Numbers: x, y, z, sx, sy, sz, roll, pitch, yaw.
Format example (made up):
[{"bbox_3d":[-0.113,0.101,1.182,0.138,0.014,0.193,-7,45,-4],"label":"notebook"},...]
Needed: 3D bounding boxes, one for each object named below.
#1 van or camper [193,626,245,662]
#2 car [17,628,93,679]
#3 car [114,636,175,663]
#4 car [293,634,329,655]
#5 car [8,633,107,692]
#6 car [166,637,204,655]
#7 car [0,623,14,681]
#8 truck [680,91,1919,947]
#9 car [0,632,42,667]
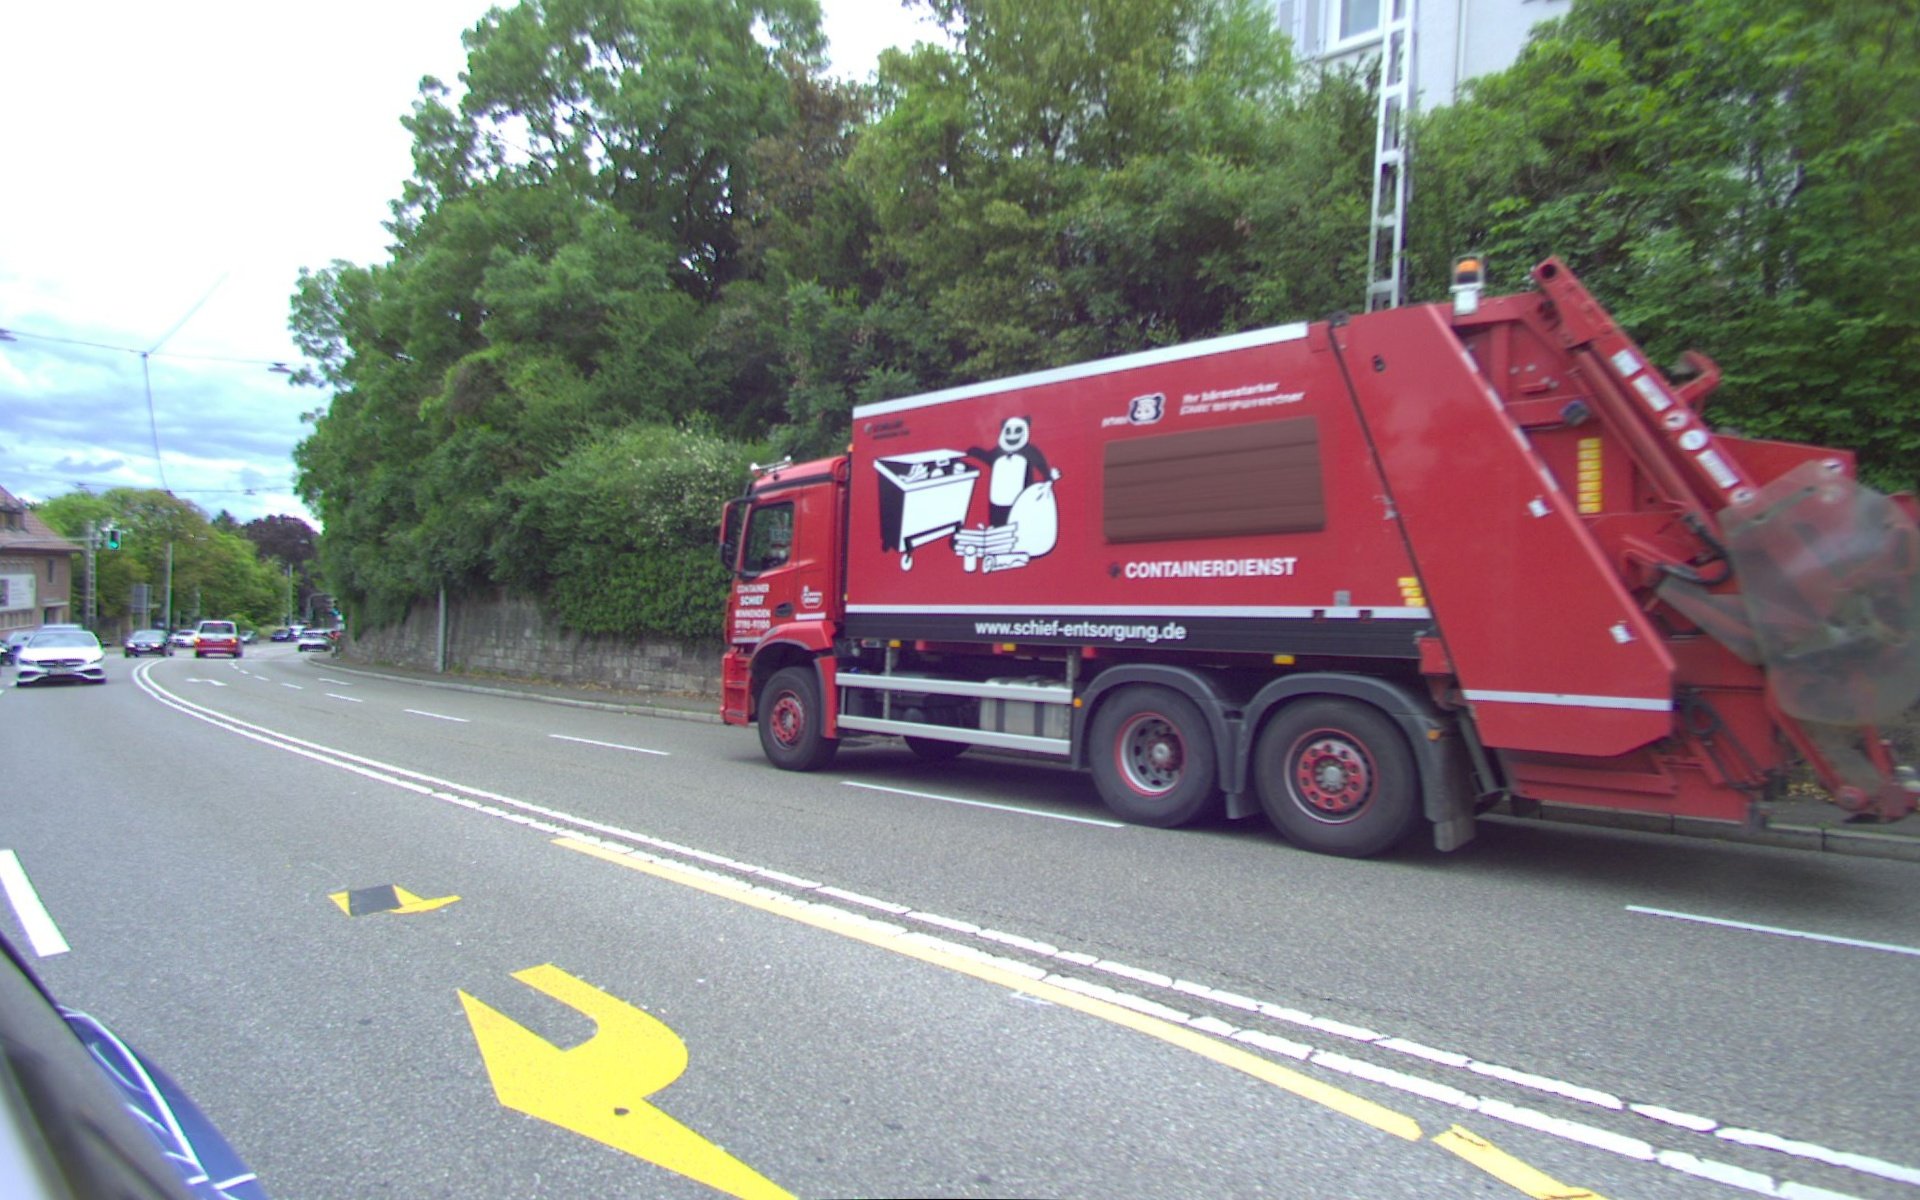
[{"bbox_3d":[-40.187,2.361,54.964,1.864,1.893,4.778,2,-3,-32],"label":"van or camper"},{"bbox_3d":[-32.711,1.908,36.624,1.929,1.753,4.005,2,-3,-42],"label":"car"},{"bbox_3d":[-43.979,2.641,54.669,1.805,1.387,4.012,2,-3,-28],"label":"car"},{"bbox_3d":[-47.527,3.277,74.215,1.757,1.478,4.114,3,-4,-27],"label":"car"},{"bbox_3d":[-23.581,1.596,26.555,1.775,1.401,3.533,0,-2,-39],"label":"car"},{"bbox_3d":[-66.405,3.919,86.763,1.651,1.472,4.380,3,-3,-25],"label":"car"},{"bbox_3d":[-30.582,1.586,30.733,1.926,1.785,4.011,2,-3,-32],"label":"car"},{"bbox_3d":[1.718,-0.198,8.545,9.915,3.726,2.914,-2,-4,42],"label":"truck"},{"bbox_3d":[-40.115,2.048,42.296,1.966,1.415,4.011,0,-2,-34],"label":"car"}]
